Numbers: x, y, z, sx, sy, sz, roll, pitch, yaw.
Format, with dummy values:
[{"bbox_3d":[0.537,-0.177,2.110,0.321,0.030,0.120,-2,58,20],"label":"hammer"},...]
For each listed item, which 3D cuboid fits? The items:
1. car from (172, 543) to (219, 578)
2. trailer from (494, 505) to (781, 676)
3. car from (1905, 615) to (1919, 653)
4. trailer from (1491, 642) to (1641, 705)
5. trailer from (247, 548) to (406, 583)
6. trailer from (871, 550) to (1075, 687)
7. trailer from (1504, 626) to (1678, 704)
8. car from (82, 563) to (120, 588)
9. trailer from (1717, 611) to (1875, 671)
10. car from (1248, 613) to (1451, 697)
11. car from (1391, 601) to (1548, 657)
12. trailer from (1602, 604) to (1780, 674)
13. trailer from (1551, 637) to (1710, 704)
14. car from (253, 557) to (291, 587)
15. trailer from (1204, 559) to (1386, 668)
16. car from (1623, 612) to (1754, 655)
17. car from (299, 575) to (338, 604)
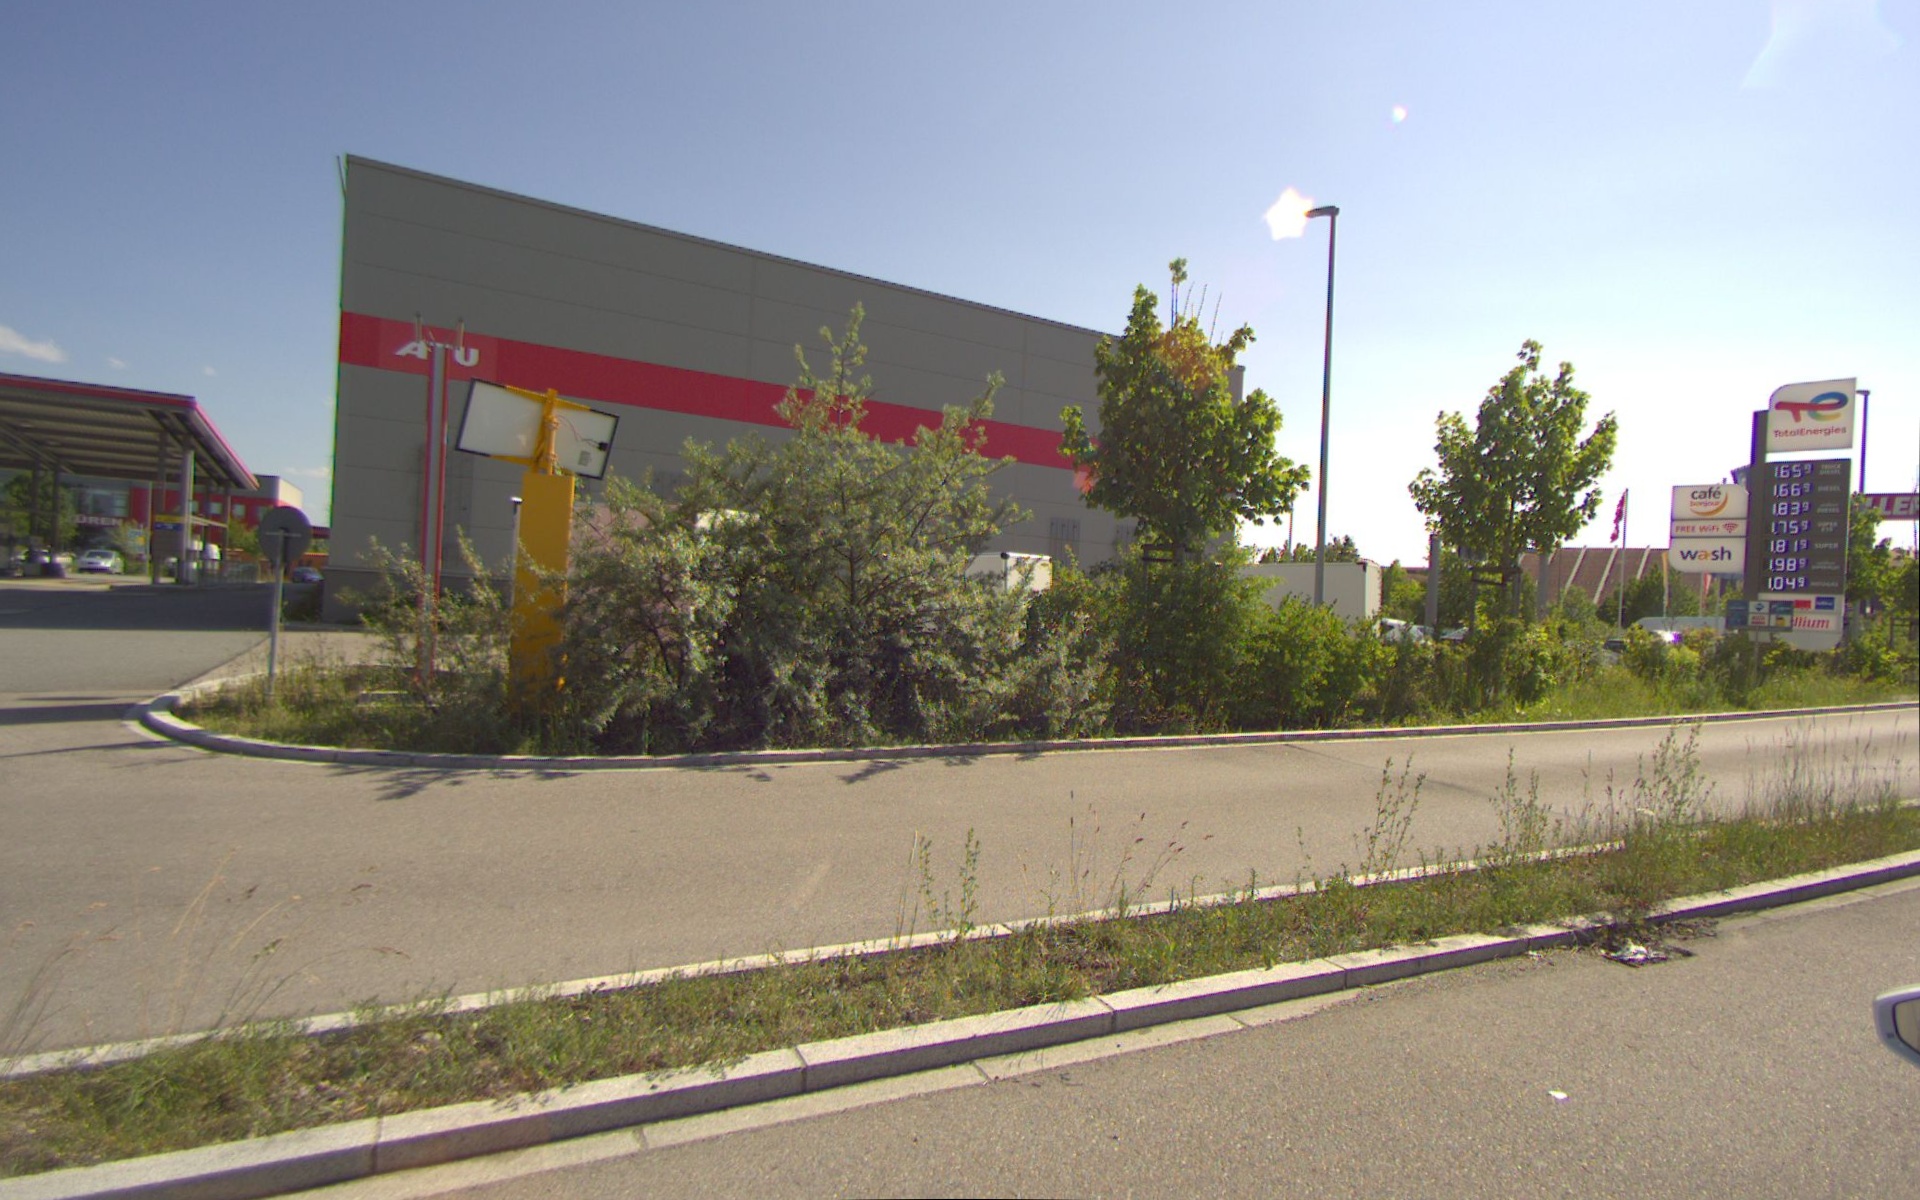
[{"bbox_3d":[-52.209,-2.688,68.666,2.365,2.217,5.425,2,1,-36],"label":"car"},{"bbox_3d":[-4.343,-0.165,13.620,3.146,2.040,1.998,3,1,25],"label":"trailer"},{"bbox_3d":[38.599,1.409,37.468,1.961,1.472,4.872,2,1,-1],"label":"car"},{"bbox_3d":[13.289,1.570,22.077,2.729,1.100,1.317,3,1,34],"label":"trailer"},{"bbox_3d":[-62.001,-3.369,98.843,13.015,2.796,2.371,2,1,-27],"label":"trailer"},{"bbox_3d":[0.211,0.251,16.711,2.693,2.040,1.993,3,1,37],"label":"trailer"},{"bbox_3d":[14.539,1.432,23.219,3.146,1.503,1.540,3,1,43],"label":"trailer"},{"bbox_3d":[-56.480,-1.617,66.078,1.585,1.530,3.563,2,1,-36],"label":"car"},{"bbox_3d":[26.981,1.266,32.571,3.631,1.795,1.804,1,0,30],"label":"trailer"},{"bbox_3d":[8.758,1.173,22.695,3.933,1.557,1.714,3,1,35],"label":"car"},{"bbox_3d":[15.043,0.852,29.619,4.437,1.503,1.792,2,1,-26],"label":"car"},{"bbox_3d":[19.748,1.005,27.328,3.631,1.471,1.705,6,2,30],"label":"trailer"},{"bbox_3d":[16.043,1.637,24.101,1.379,1.340,2.876,2,1,-41],"label":"trailer"},{"bbox_3d":[-55.676,-2.282,81.273,2.365,2.217,5.425,2,1,-36],"label":"car"},{"bbox_3d":[6.923,0.235,20.788,3.184,2.040,1.743,3,1,33],"label":"trailer"},{"bbox_3d":[45.228,2.049,62.513,2.022,2.264,6.205,2,1,-38],"label":"car"},{"bbox_3d":[-53.103,-0.869,83.151,2.365,2.217,5.425,2,1,-36],"label":"car"}]
